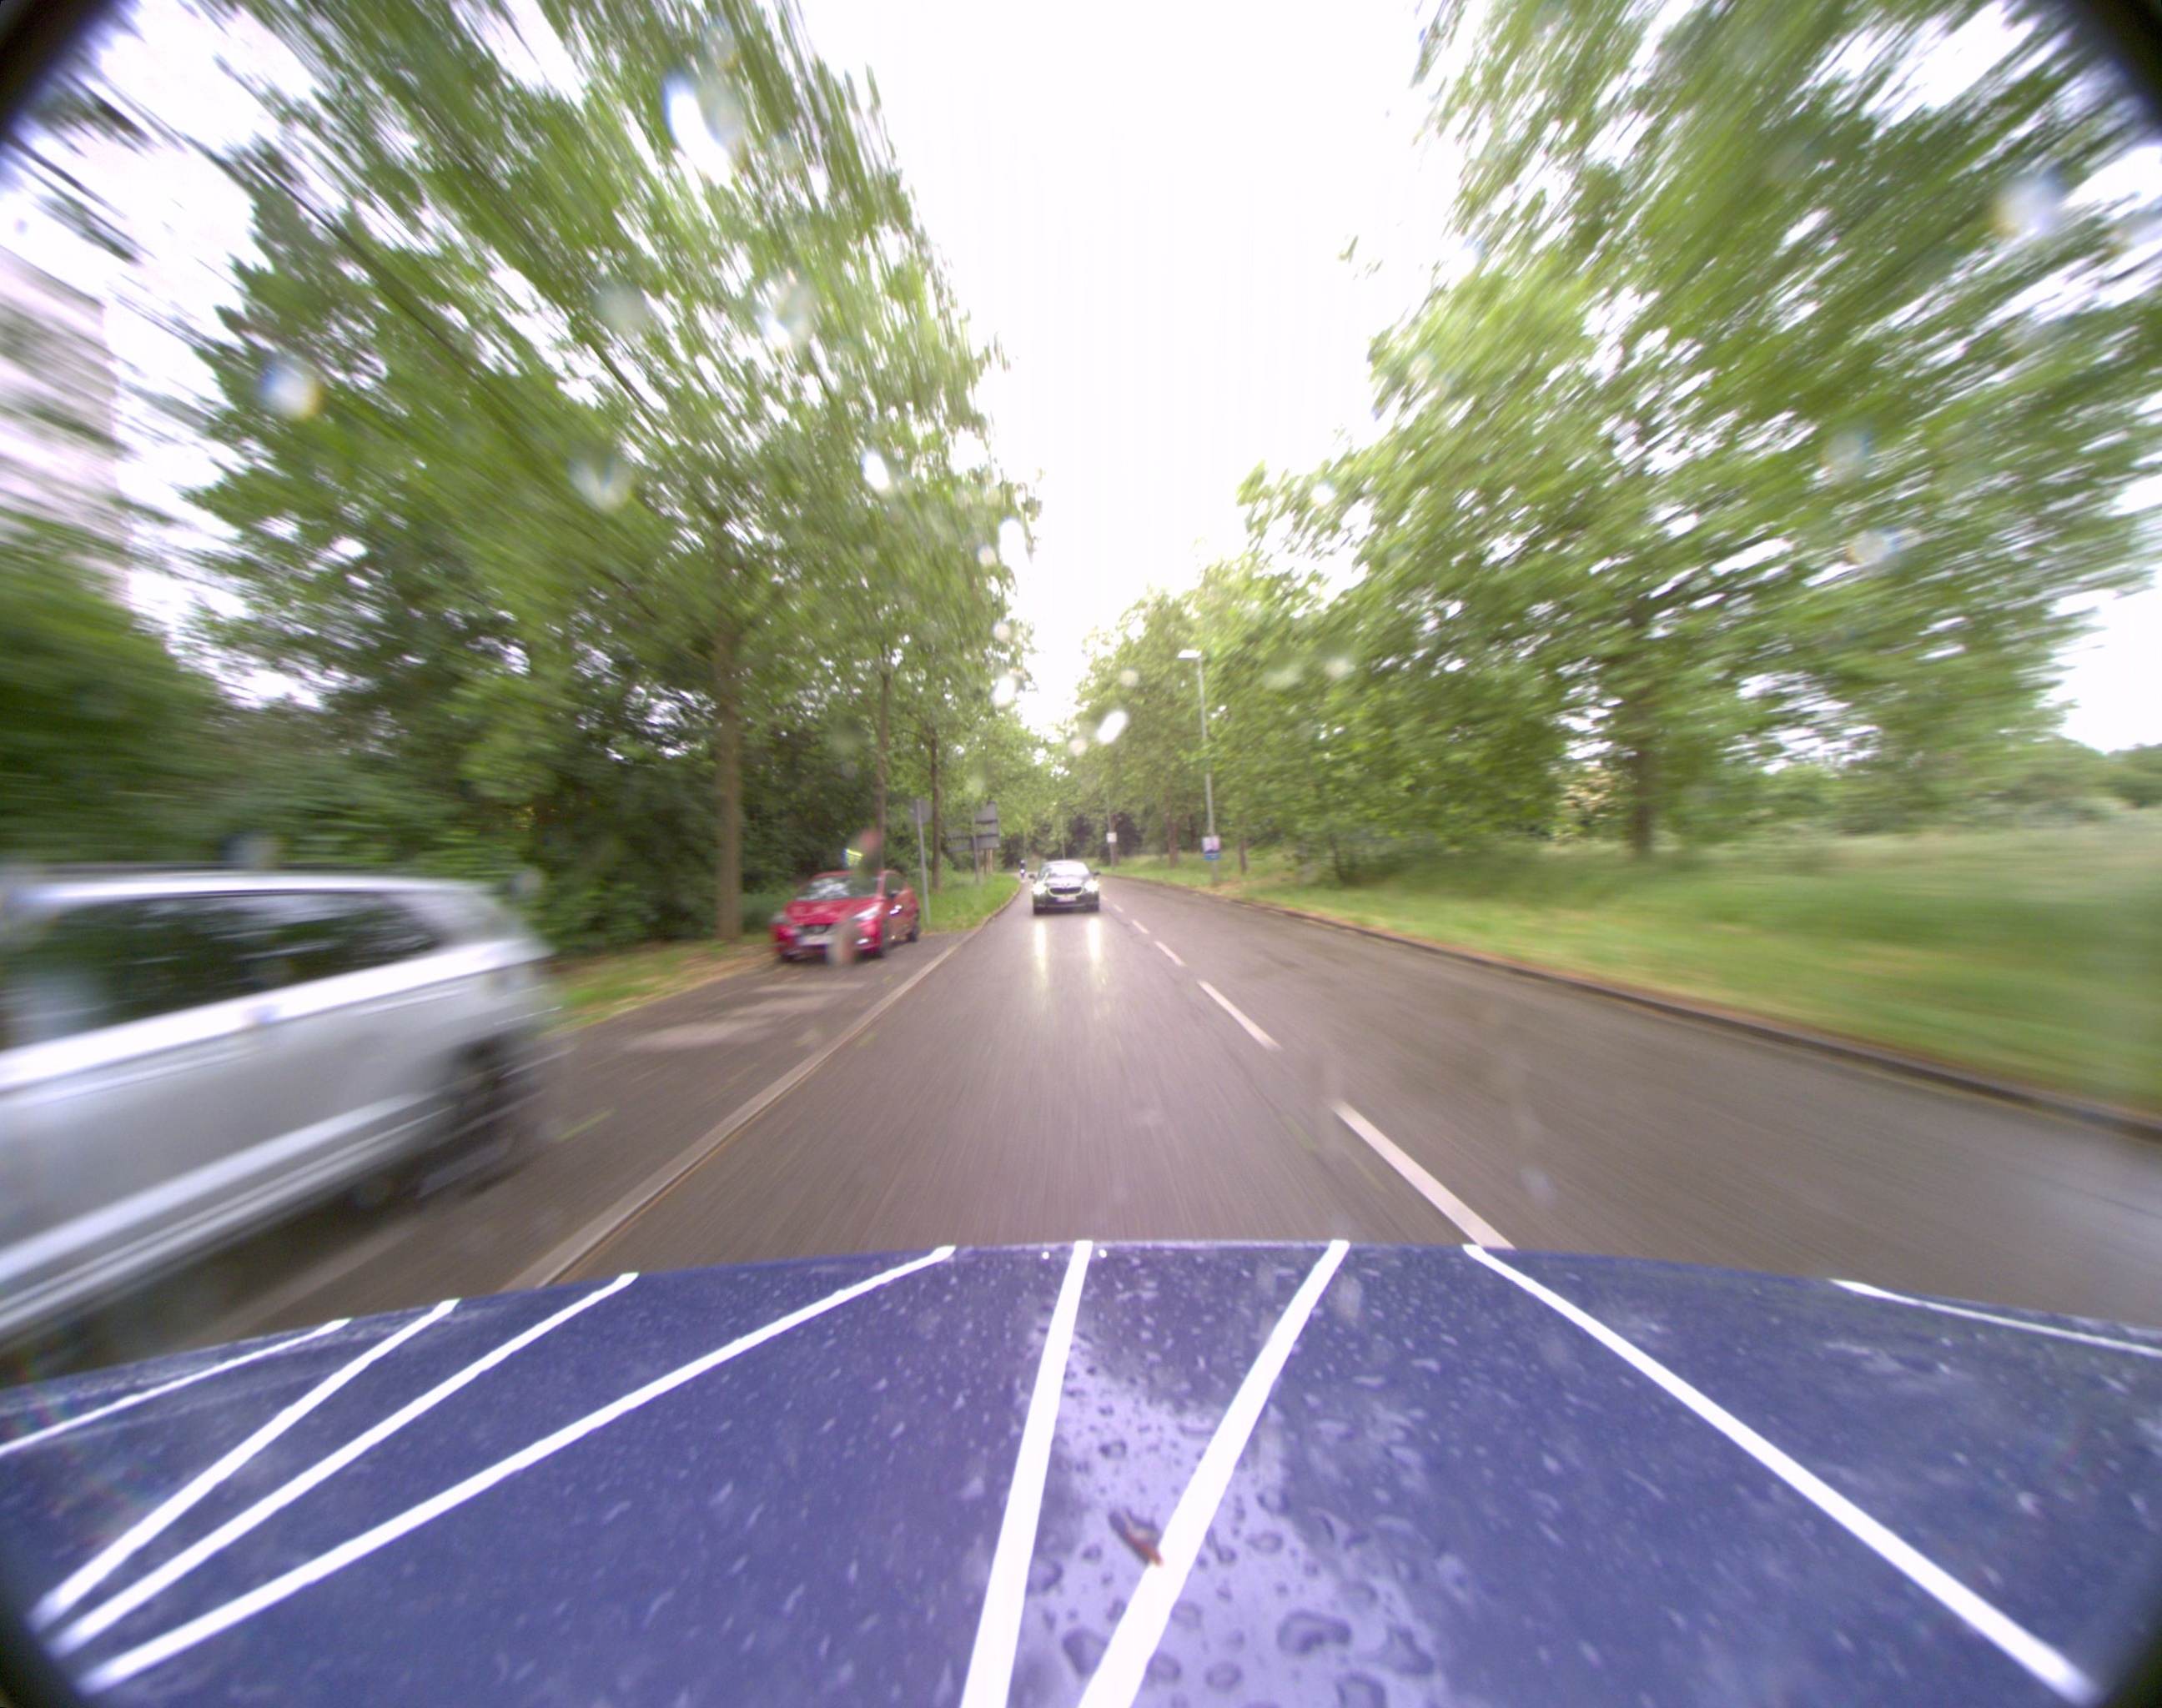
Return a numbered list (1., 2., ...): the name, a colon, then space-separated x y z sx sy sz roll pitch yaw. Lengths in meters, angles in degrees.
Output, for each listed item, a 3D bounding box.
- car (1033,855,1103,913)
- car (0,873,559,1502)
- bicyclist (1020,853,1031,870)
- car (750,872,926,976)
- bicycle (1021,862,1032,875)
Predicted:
1. car: -0.469 0.811 23.216 1.844 1.486 4.900 -3 0 -3
2. car: -3.734 0.943 2.008 1.732 1.582 4.252 -2 1 0
3. bicyclist: -5.093 0.725 70.043 0.699 1.489 0.799 -5 1 -22
4. car: -3.998 1.089 13.186 1.802 1.364 3.743 -2 1 0
5. bicycle: -5.055 1.323 70.061 0.454 1.127 1.830 -6 1 -21
